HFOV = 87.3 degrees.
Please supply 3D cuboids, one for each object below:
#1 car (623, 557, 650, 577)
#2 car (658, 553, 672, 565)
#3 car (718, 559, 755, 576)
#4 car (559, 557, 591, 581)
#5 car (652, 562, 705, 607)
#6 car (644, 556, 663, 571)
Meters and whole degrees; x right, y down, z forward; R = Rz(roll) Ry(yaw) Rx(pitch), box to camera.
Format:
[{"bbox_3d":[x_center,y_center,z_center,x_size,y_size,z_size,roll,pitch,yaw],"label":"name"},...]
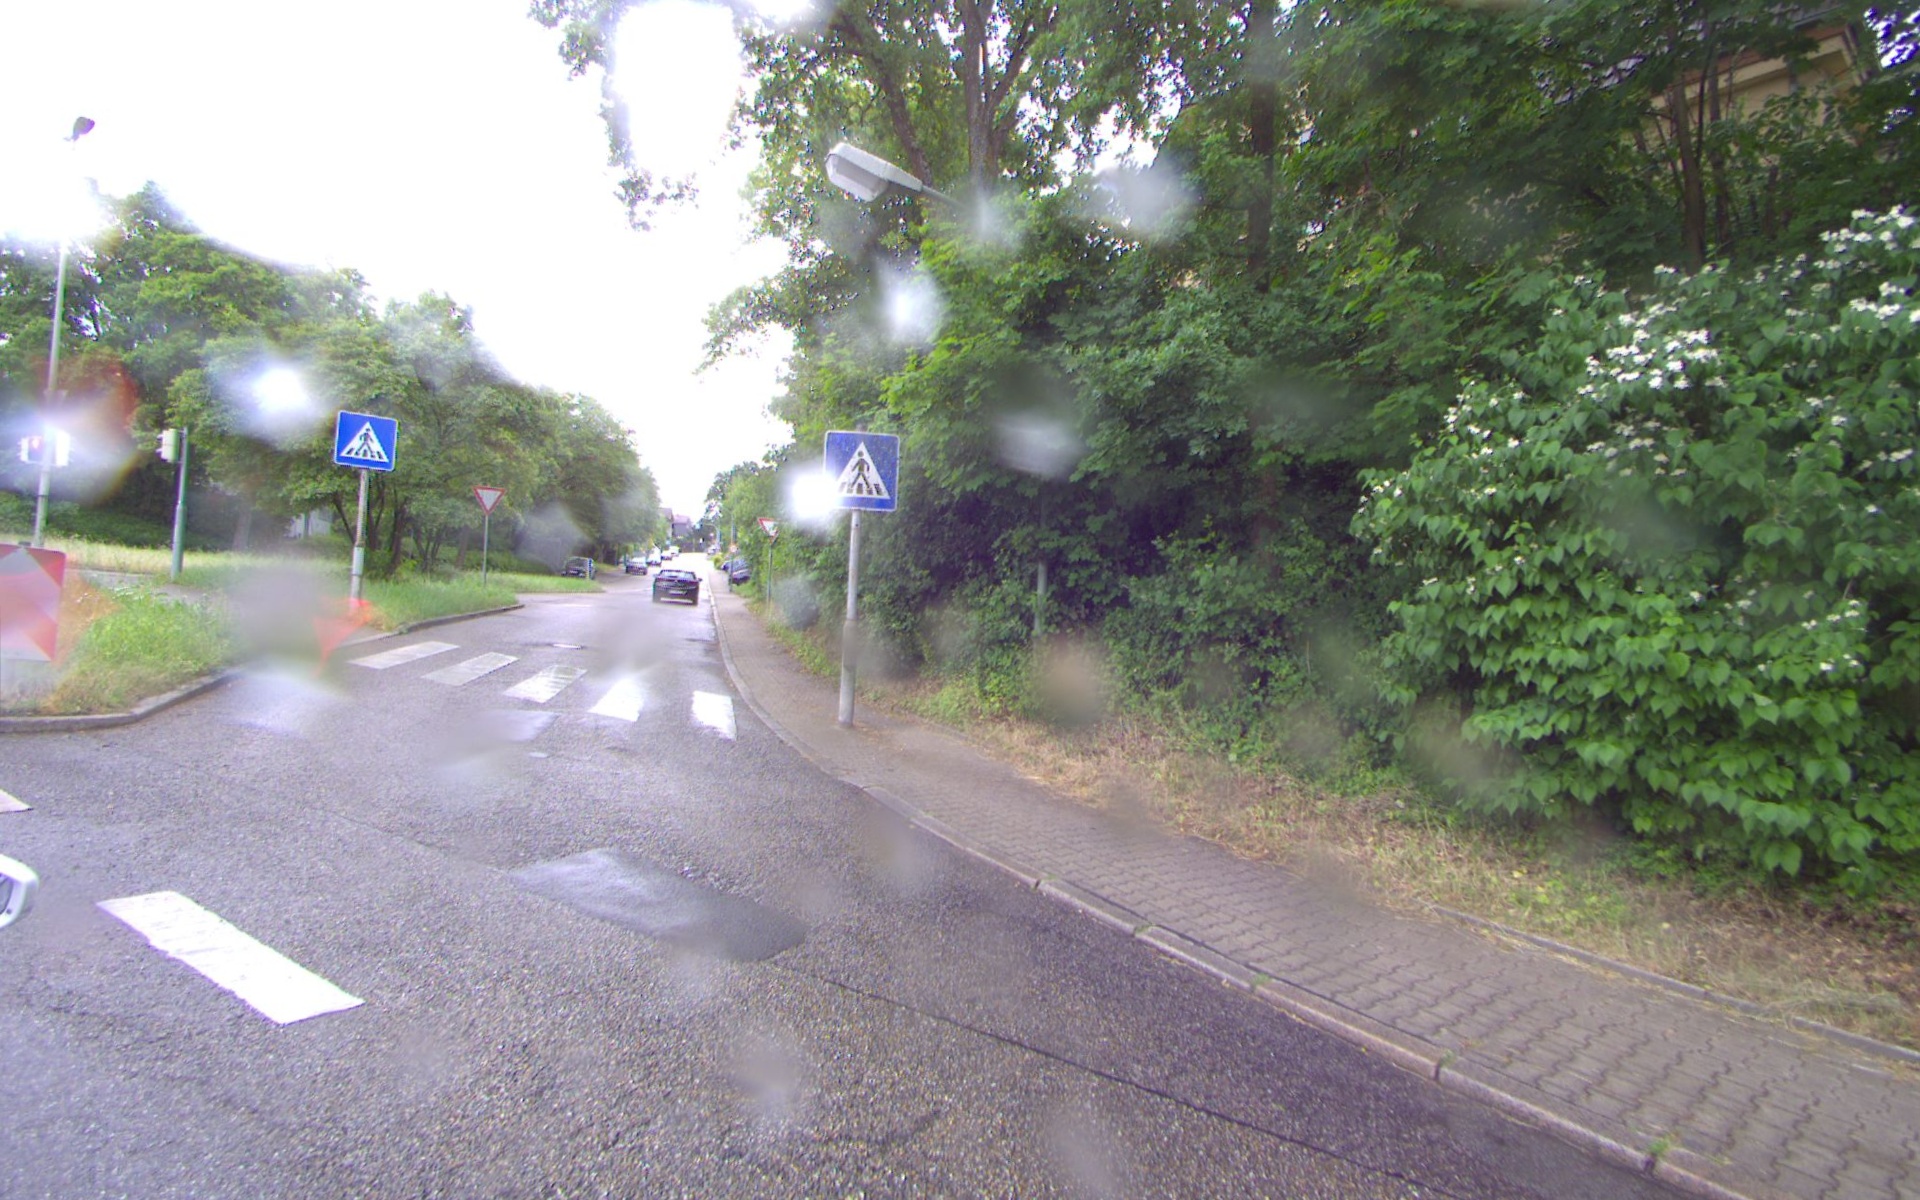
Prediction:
[{"bbox_3d":[-30.113,-3.035,93.744,1.874,1.467,4.285,7,-2,-13],"label":"car"},{"bbox_3d":[-46.784,-6.472,159.522,1.877,1.413,4.151,7,-2,-20],"label":"car"},{"bbox_3d":[-25.779,-3.708,116.106,3.939,1.594,1.766,5,1,-18],"label":"car"},{"bbox_3d":[-25.896,-2.089,67.749,1.651,1.387,3.477,6,0,-16],"label":"car"},{"bbox_3d":[-11.446,-0.672,41.133,1.789,1.461,4.148,6,1,-14],"label":"car"},{"bbox_3d":[-37.718,-4.446,123.658,1.968,1.463,4.278,7,-2,-19],"label":"car"}]
